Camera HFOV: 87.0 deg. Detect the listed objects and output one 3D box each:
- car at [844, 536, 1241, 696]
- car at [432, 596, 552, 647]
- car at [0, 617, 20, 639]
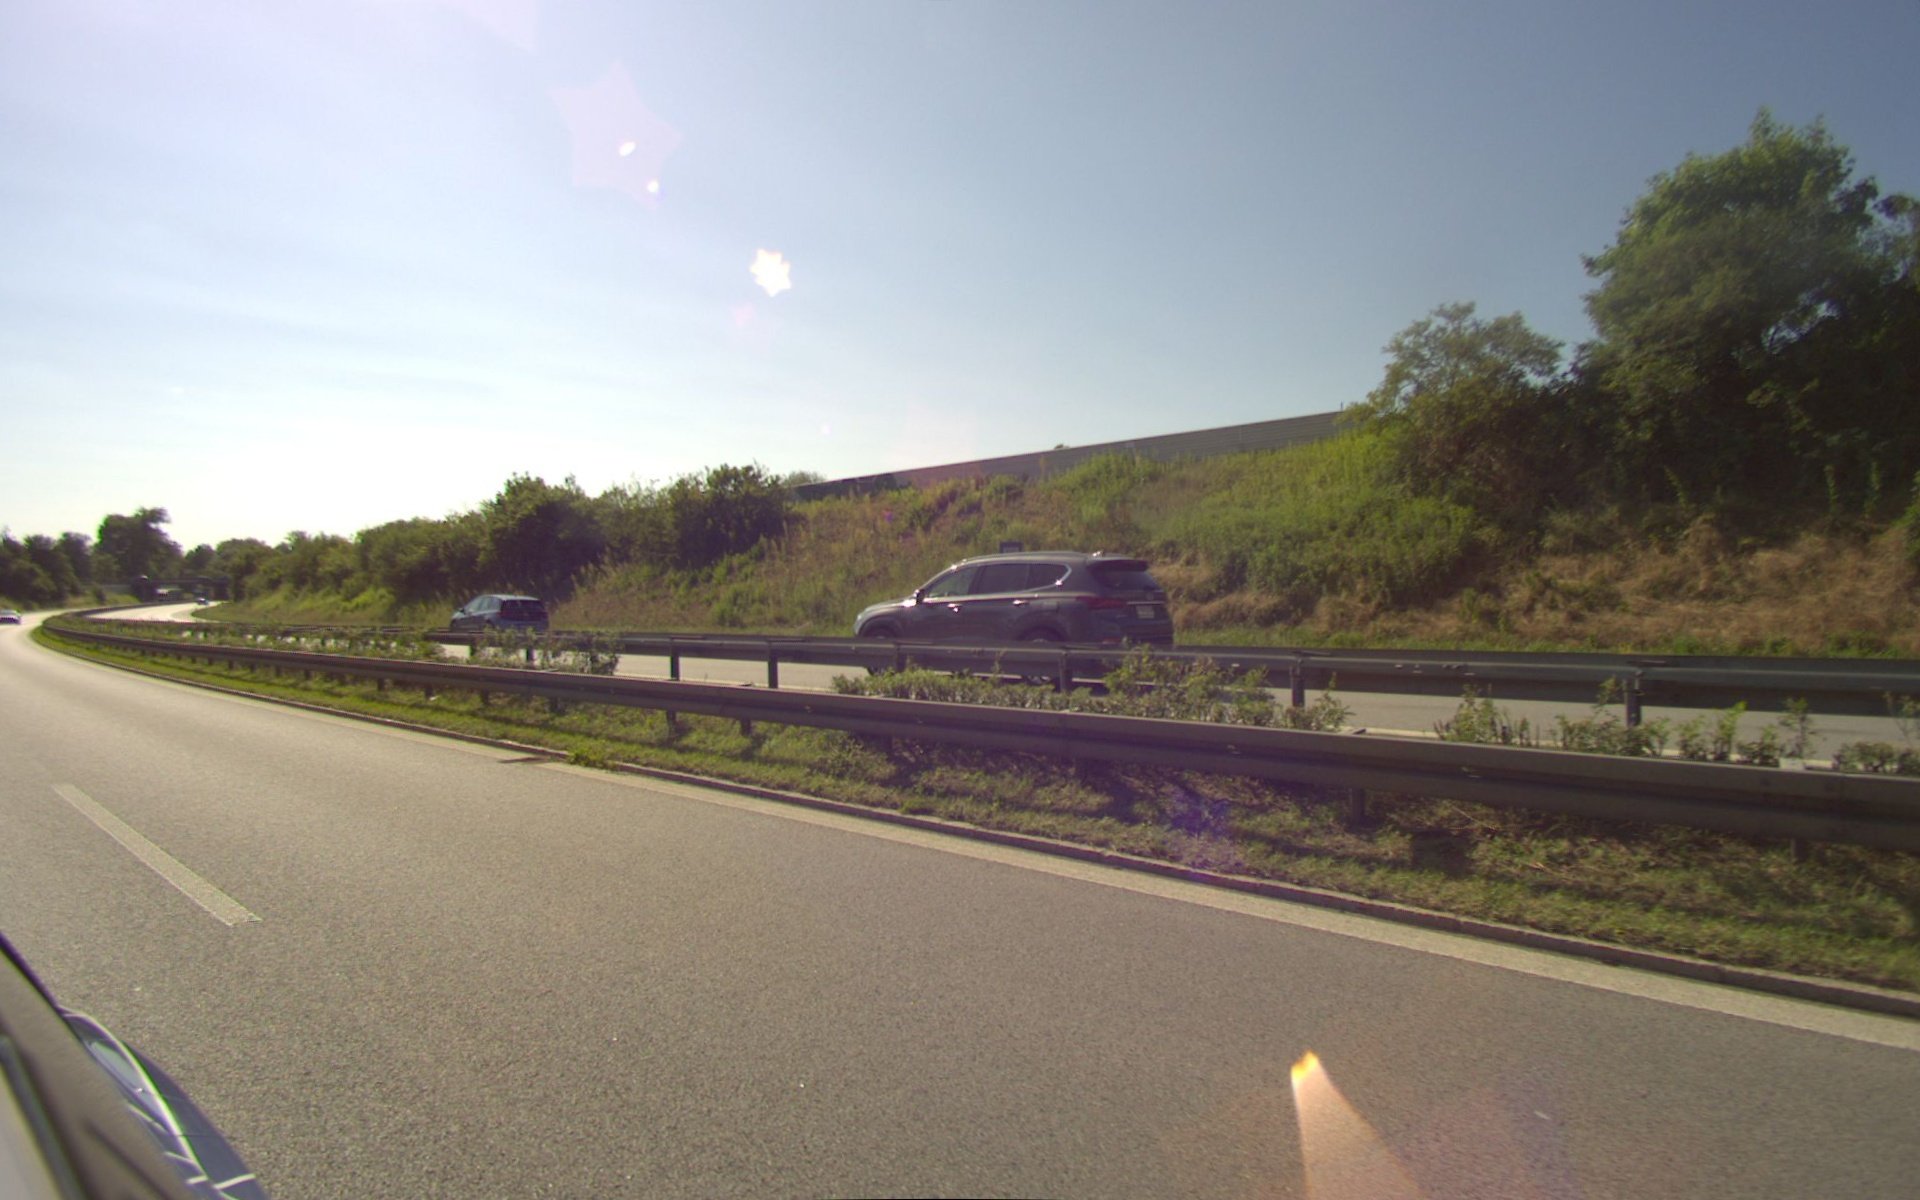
[{"bbox_3d":[0.898,0.227,13.096,4.884,1.692,2.046,-1,-2,41],"label":"car"},{"bbox_3d":[-15.020,0.668,32.360,4.684,1.491,1.800,-1,0,42],"label":"car"},{"bbox_3d":[-96.903,2.842,102.587,1.968,2.028,4.608,-3,2,-38],"label":"car"}]
